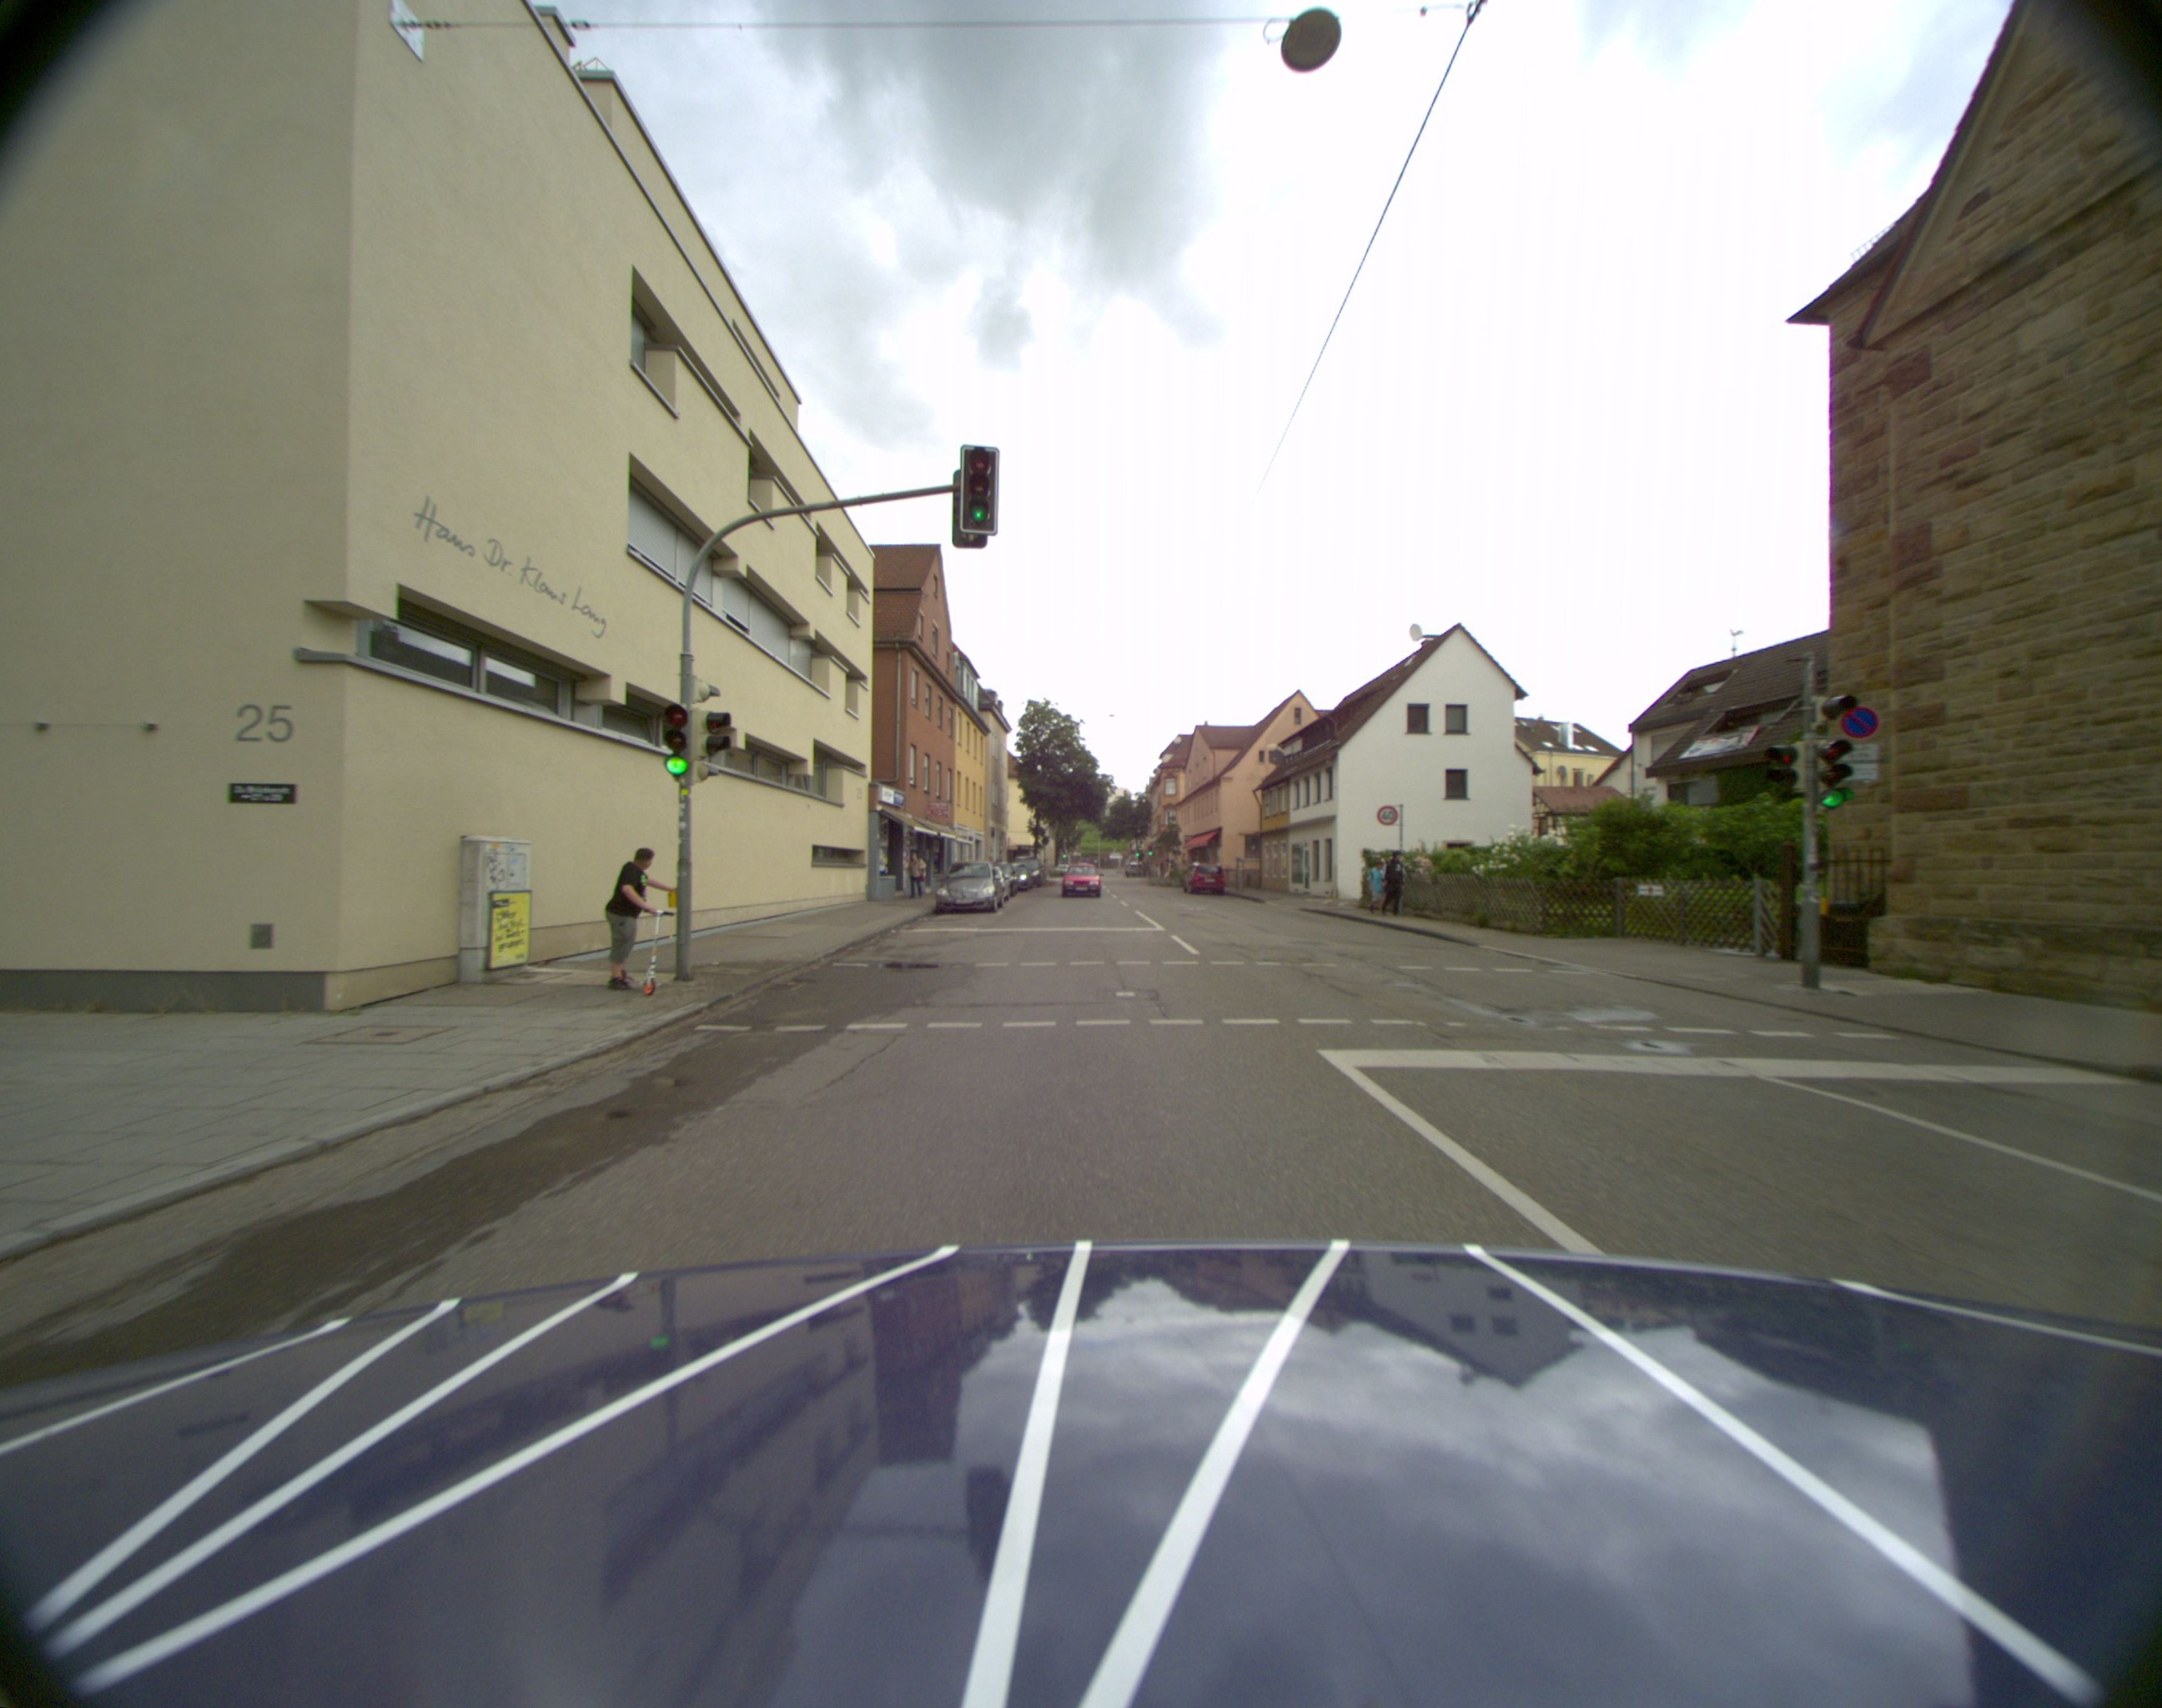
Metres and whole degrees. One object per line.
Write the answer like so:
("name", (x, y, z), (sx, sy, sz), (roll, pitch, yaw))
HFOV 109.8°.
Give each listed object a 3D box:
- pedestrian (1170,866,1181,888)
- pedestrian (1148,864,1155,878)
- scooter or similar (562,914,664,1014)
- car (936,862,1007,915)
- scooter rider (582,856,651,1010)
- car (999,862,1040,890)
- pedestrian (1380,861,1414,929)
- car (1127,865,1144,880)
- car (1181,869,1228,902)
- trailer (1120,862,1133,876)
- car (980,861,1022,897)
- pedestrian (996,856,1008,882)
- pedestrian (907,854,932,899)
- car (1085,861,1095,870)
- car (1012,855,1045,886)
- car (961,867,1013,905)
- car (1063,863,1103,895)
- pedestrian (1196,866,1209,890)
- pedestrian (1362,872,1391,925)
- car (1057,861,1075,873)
("pedestrian", (7.501, 1.819, 60.375), (0.740, 1.744, 0.983), (0, -1, 1))
("pedestrian", (8.958, 2.138, 96.138), (0.740, 1.707, 1.156), (0, -1, -2))
("scooter or similar", (-5.078, 1.182, 8.295), (0.664, 0.940, 0.819), (3, 1, -11))
("car", (-3.357, 1.025, 23.965), (1.716, 1.551, 3.785), (0, -1, -1))
("scooter rider", (-5.055, 0.844, 8.291), (0.454, 1.622, 0.504), (3, 1, -14))
("car", (-3.286, 1.141, 41.209), (1.755, 1.397, 4.512), (1, -1, 1))
("pedestrian", (8.873, 1.141, 21.339), (0.572, 1.837, 0.697), (-3, 0, 1))
("car", (6.761, 2.320, 94.400), (1.895, 1.702, 4.742), (2, -1, 2))
("car", (6.553, 1.640, 40.583), (1.707, 1.564, 4.450), (2, 0, 0))
("trailer", (9.687, 3.158, 161.431), (2.450, 2.787, 6.305), (1, -1, 4))
("car", (-3.574, 1.102, 34.484), (1.606, 1.509, 4.208), (-1, 0, -2))
("pedestrian", (-4.971, 0.949, 48.040), (0.616, 1.643, 0.983), (2, -1, 0))
("pedestrian", (-6.008, 0.828, 28.227), (0.703, 1.639, 0.889), (1, -1, 0))
("car", (1.988, 2.573, 165.009), (1.998, 1.970, 4.879), (0, -1, 1))
("car", (-3.133, 0.977, 46.122), (1.824, 1.770, 4.403), (0, 0, -1))
("car", (-3.490, 1.152, 28.763), (1.555, 1.325, 3.812), (0, -1, -1))
("car", (0.149, 1.096, 34.758), (1.626, 1.387, 4.002), (0, -1, 4))
("pedestrian", (8.414, 1.673, 52.559), (0.732, 1.619, 0.758), (-2, 1, -3))
("pedestrian", (8.728, 1.303, 22.474), (0.572, 1.545, 0.697), (-1, 0, 1))
("car", (-1.875, 1.630, 94.922), (1.771, 1.457, 4.786), (0, -1, 5))
